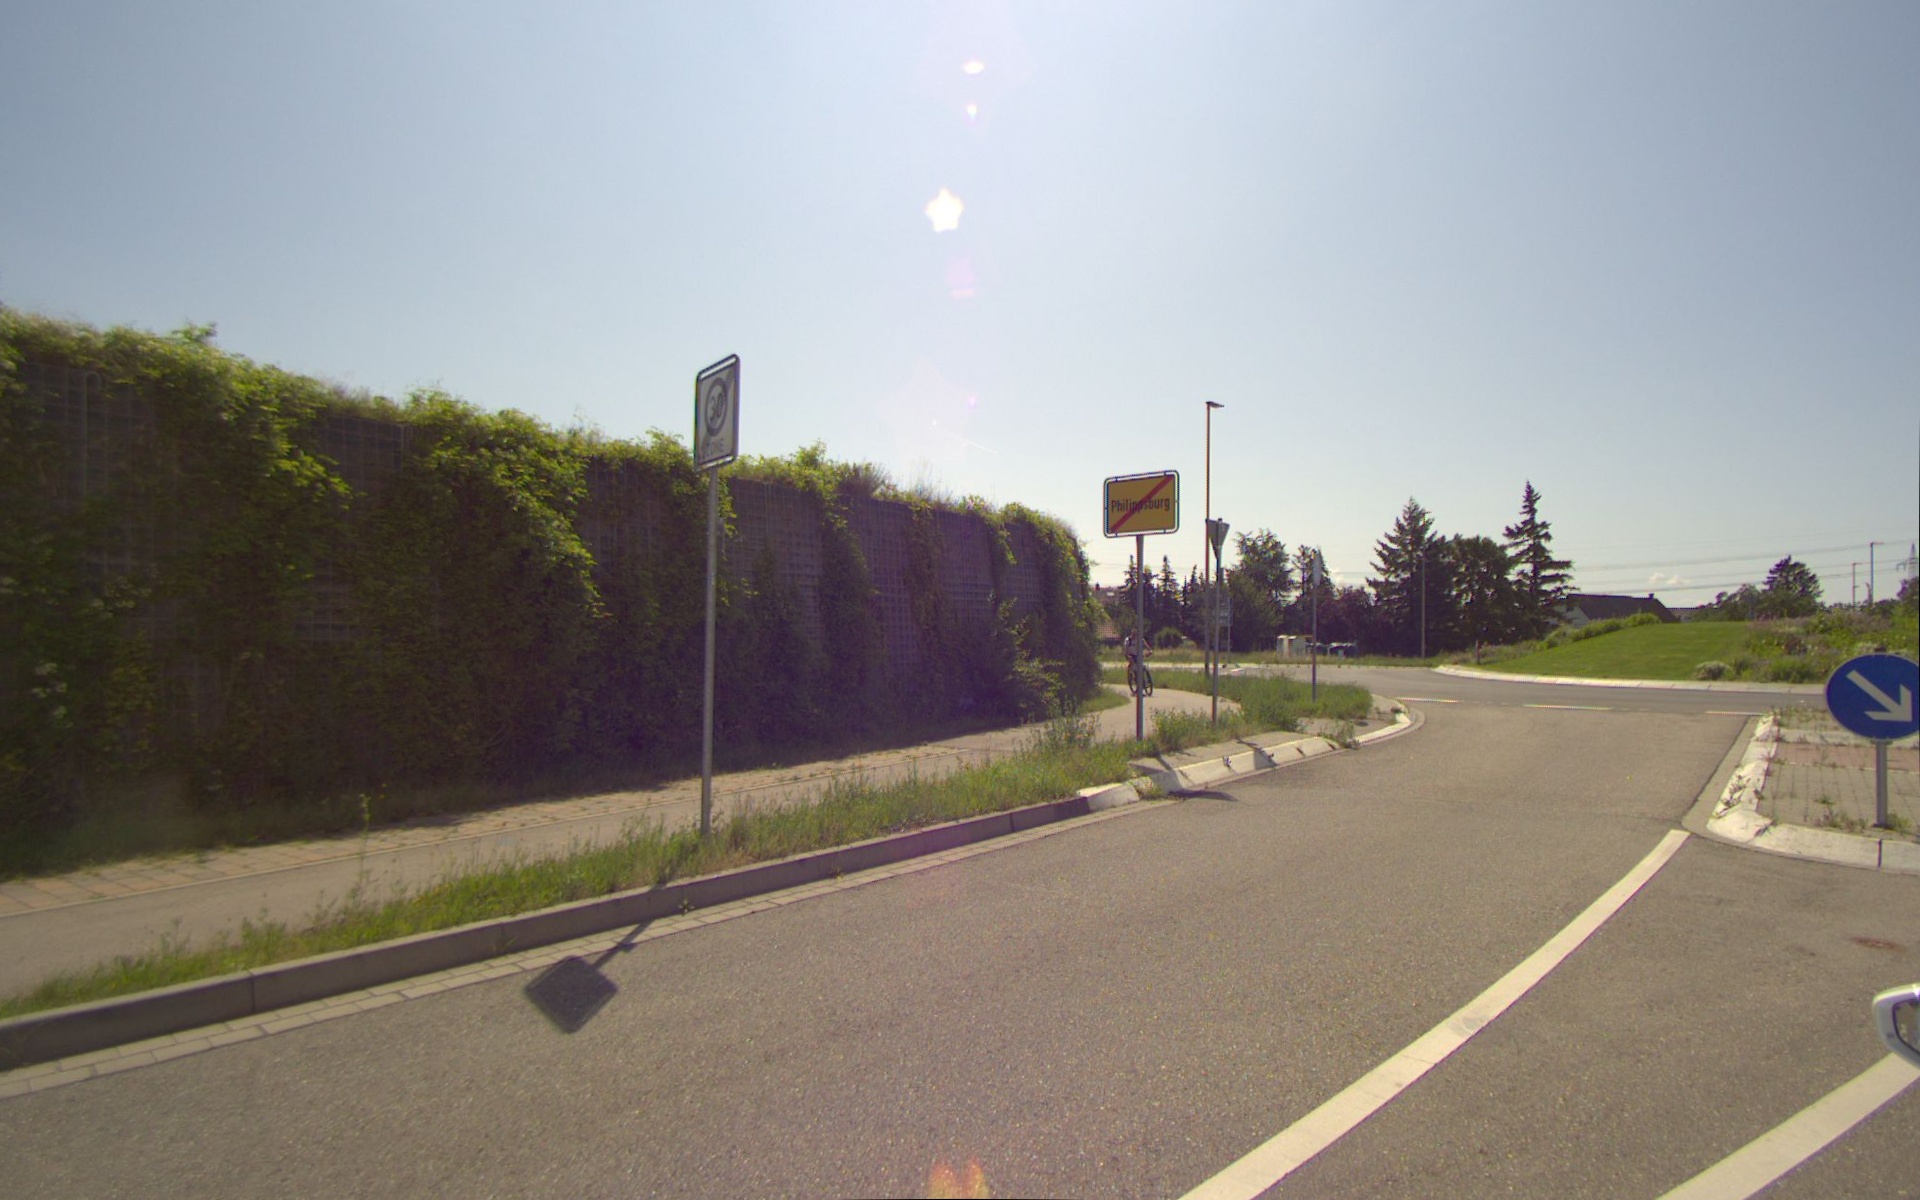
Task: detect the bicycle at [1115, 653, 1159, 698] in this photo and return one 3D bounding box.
[{"bbox_3d":[4.748,2.008,27.028,0.739,1.130,2.045,0,-2,-2],"label":"bicycle"}]

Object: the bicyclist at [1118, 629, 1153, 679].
[{"bbox_3d":[4.760,1.462,27.269,0.738,1.315,0.903,0,-2,-2],"label":"bicyclist"}]
